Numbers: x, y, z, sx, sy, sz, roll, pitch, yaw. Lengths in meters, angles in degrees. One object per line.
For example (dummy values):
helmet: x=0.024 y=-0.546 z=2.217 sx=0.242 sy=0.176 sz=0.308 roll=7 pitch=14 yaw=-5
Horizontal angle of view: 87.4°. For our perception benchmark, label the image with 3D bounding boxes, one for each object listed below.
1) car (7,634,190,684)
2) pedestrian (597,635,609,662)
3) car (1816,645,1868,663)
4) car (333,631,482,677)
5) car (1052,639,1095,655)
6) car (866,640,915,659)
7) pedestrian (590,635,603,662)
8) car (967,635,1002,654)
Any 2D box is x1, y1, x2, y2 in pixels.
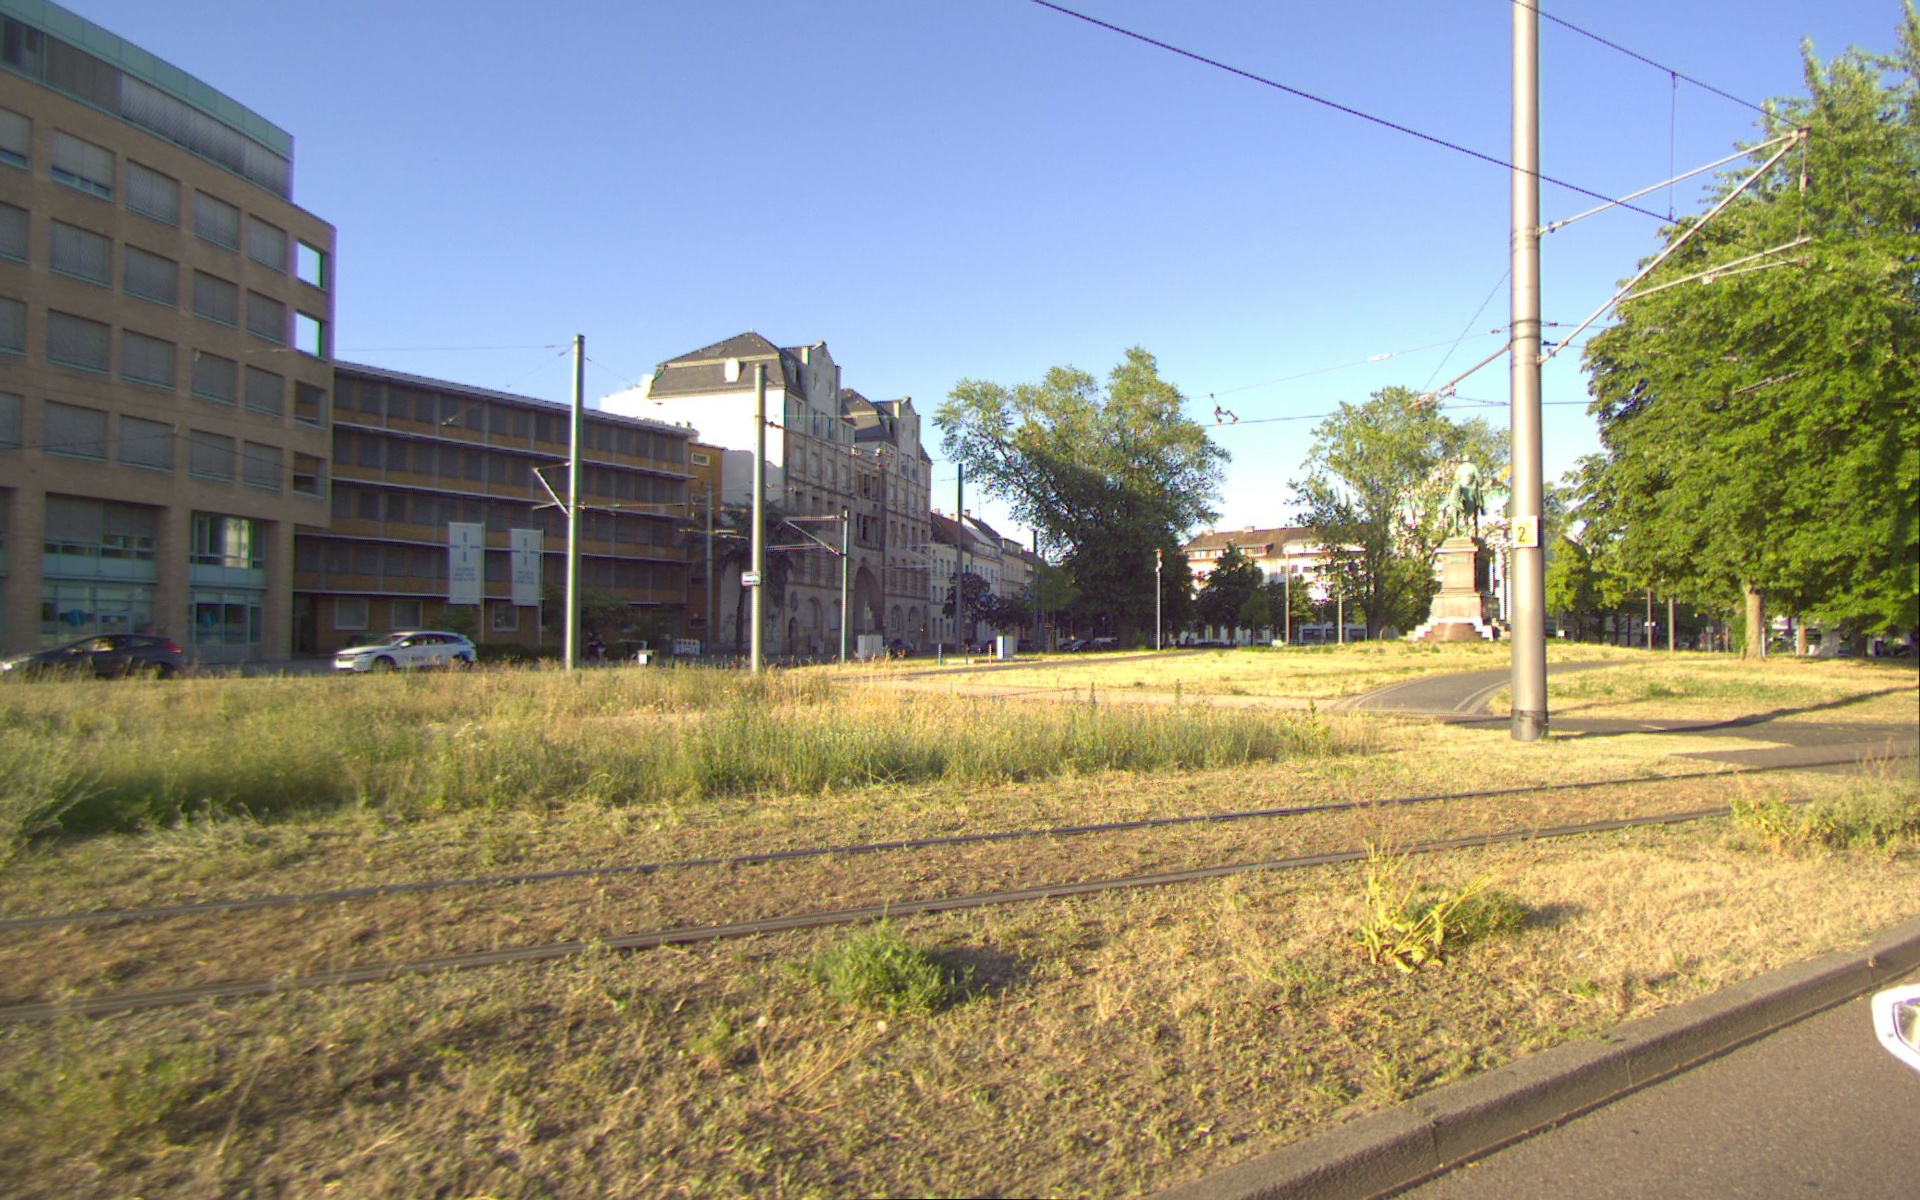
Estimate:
car: x=-24.280 y=1.616 z=28.416 sx=1.627 sy=1.298 sz=3.722 roll=-1 pitch=-2 yaw=40
pedestrian: x=-19.102 y=2.601 z=53.771 sx=0.408 sy=1.449 sz=0.483 roll=-1 pitch=-2 yaw=40
car: x=80.791 y=4.956 z=92.070 sx=3.572 sy=1.572 sz=1.654 roll=0 pitch=-2 yaw=42
car: x=-19.308 y=1.853 z=35.278 sx=1.745 sy=1.502 sz=4.299 roll=-1 pitch=-2 yaw=32
car: x=10.023 y=4.141 z=88.905 sx=3.473 sy=1.372 sz=1.545 roll=1 pitch=-1 yaw=-25
car: x=-4.737 y=3.383 z=69.065 sx=1.542 sy=1.275 sz=3.722 roll=0 pitch=-2 yaw=29
pedestrian: x=-19.616 y=2.597 z=54.243 sx=0.408 sy=1.449 sz=0.483 roll=-1 pitch=-2 yaw=40
car: x=2.020 y=3.576 z=81.081 sx=1.525 sy=1.372 sz=3.518 roll=1 pitch=-1 yaw=25
